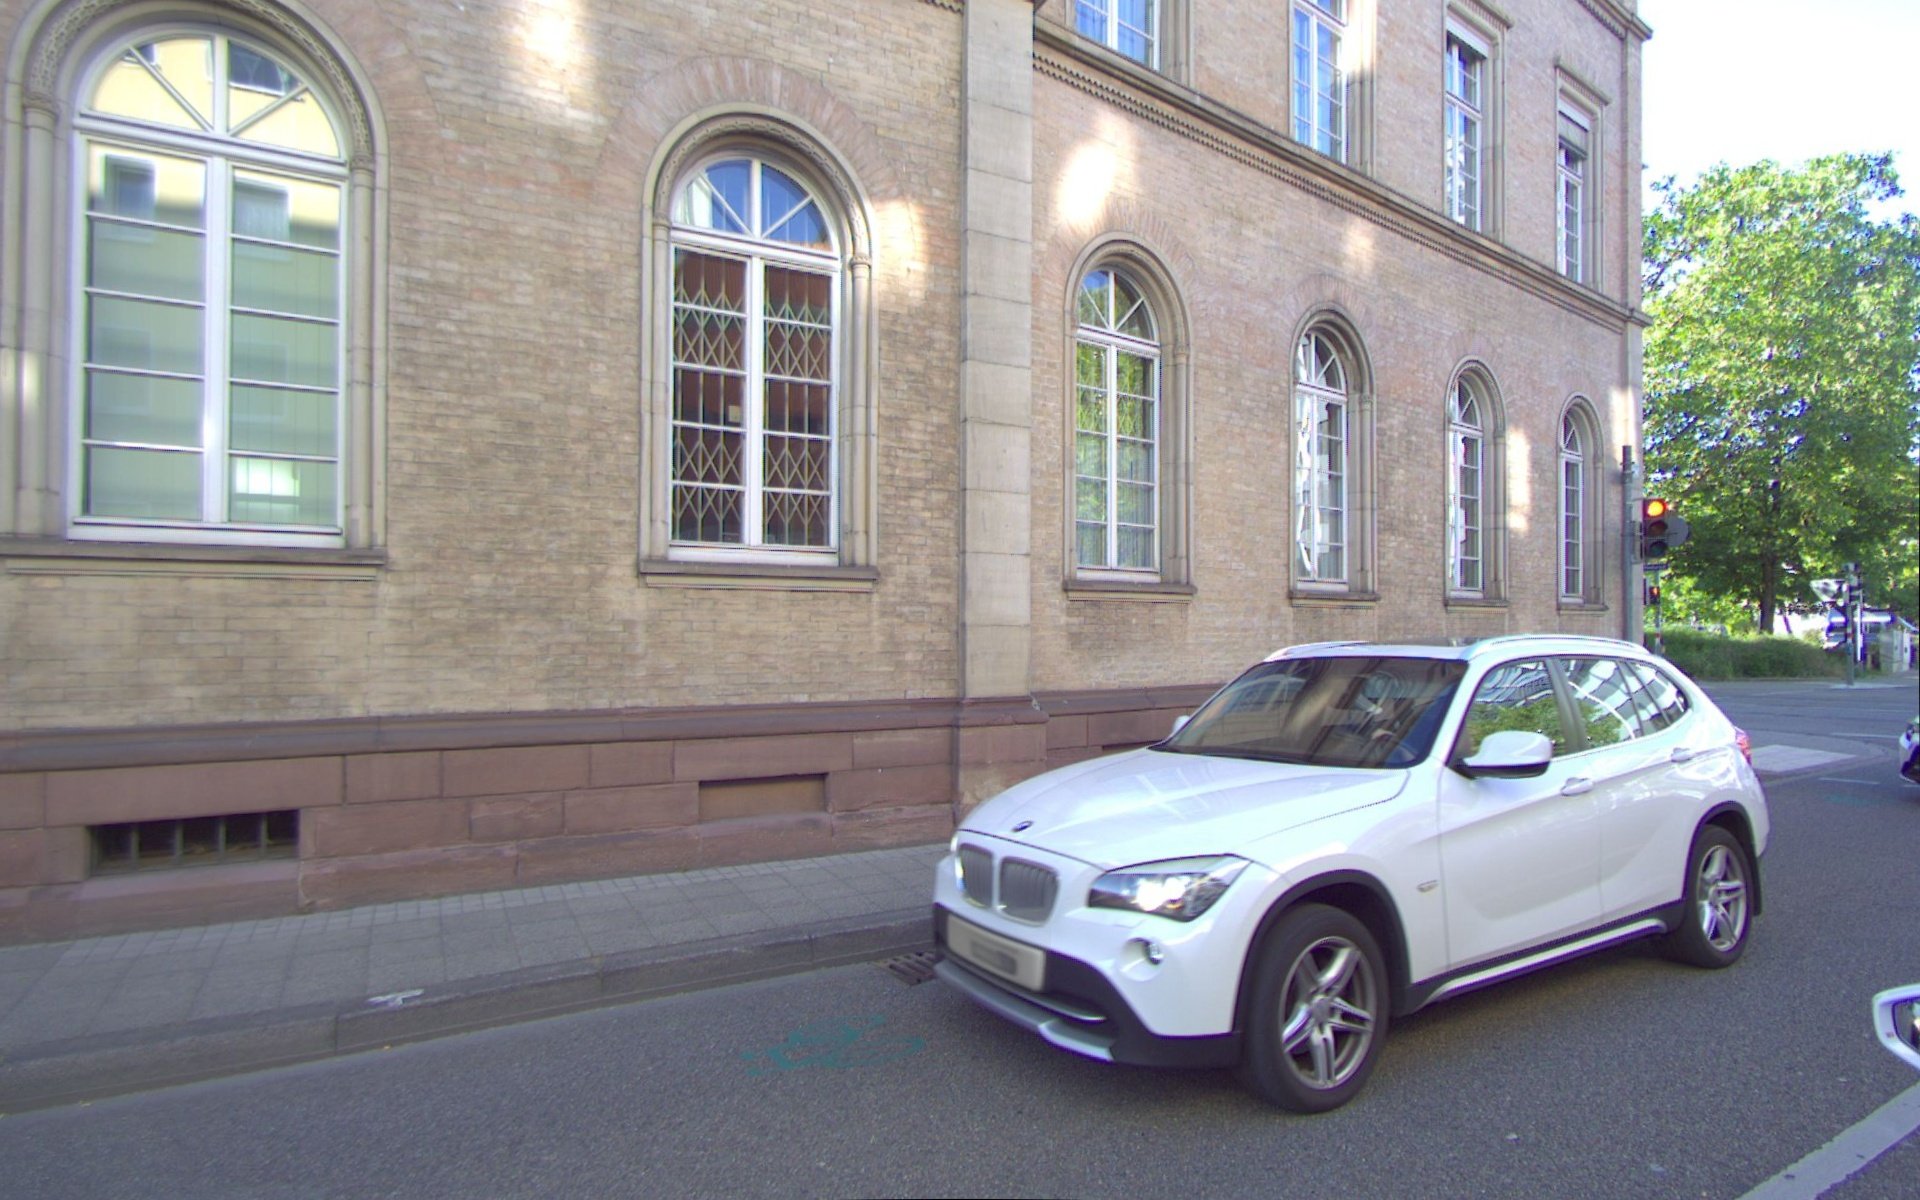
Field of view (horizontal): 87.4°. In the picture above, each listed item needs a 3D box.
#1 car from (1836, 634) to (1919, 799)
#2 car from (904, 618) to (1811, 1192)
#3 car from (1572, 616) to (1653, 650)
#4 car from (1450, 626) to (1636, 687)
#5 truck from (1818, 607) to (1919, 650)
[{"bbox_3d":[10.919,1.050,9.394,4.468,1.495,1.888,0,-3,-15],"label":"car"},{"bbox_3d":[1.996,0.936,4.663,4.226,1.603,1.677,1,-4,-31],"label":"car"},{"bbox_3d":[47.837,2.482,73.723,2.056,2.423,4.521,2,-3,-38],"label":"car"},{"bbox_3d":[16.621,1.551,28.844,1.807,1.596,4.290,1,-2,-36],"label":"car"},{"bbox_3d":[53.762,1.671,59.071,2.069,2.431,4.790,1,-1,-39],"label":"truck"}]
